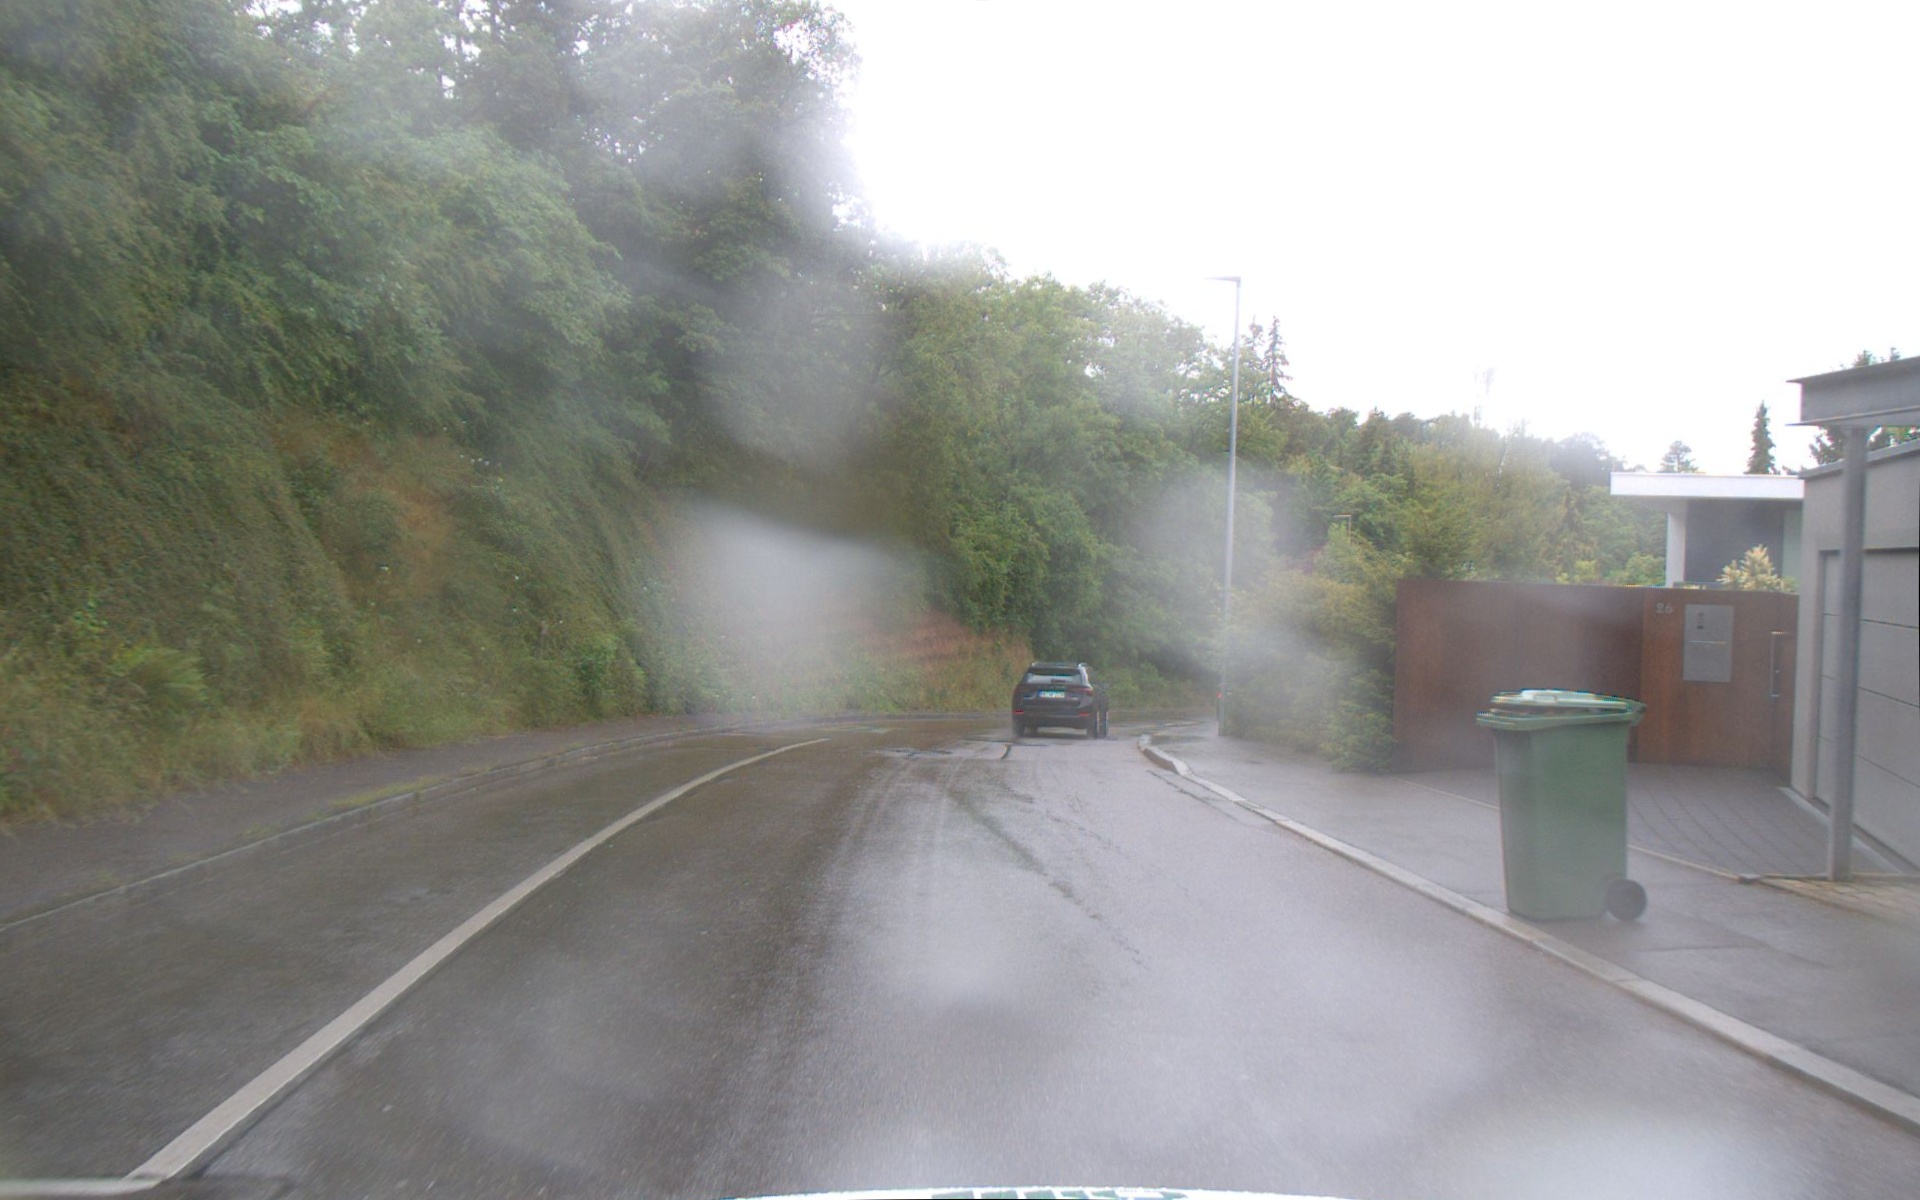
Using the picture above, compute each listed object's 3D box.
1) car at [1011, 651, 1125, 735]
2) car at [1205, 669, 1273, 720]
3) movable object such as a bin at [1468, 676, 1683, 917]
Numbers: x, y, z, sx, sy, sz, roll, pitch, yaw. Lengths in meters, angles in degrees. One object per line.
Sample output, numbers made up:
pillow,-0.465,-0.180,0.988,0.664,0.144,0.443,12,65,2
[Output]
car,2.276,1.894,33.825,1.828,1.539,4.095,2,-3,10
car,11.050,3.679,65.275,1.952,1.633,4.411,2,1,18
movable object such as a bin,3.117,0.975,8.432,0.774,1.115,0.675,-3,-1,-3
